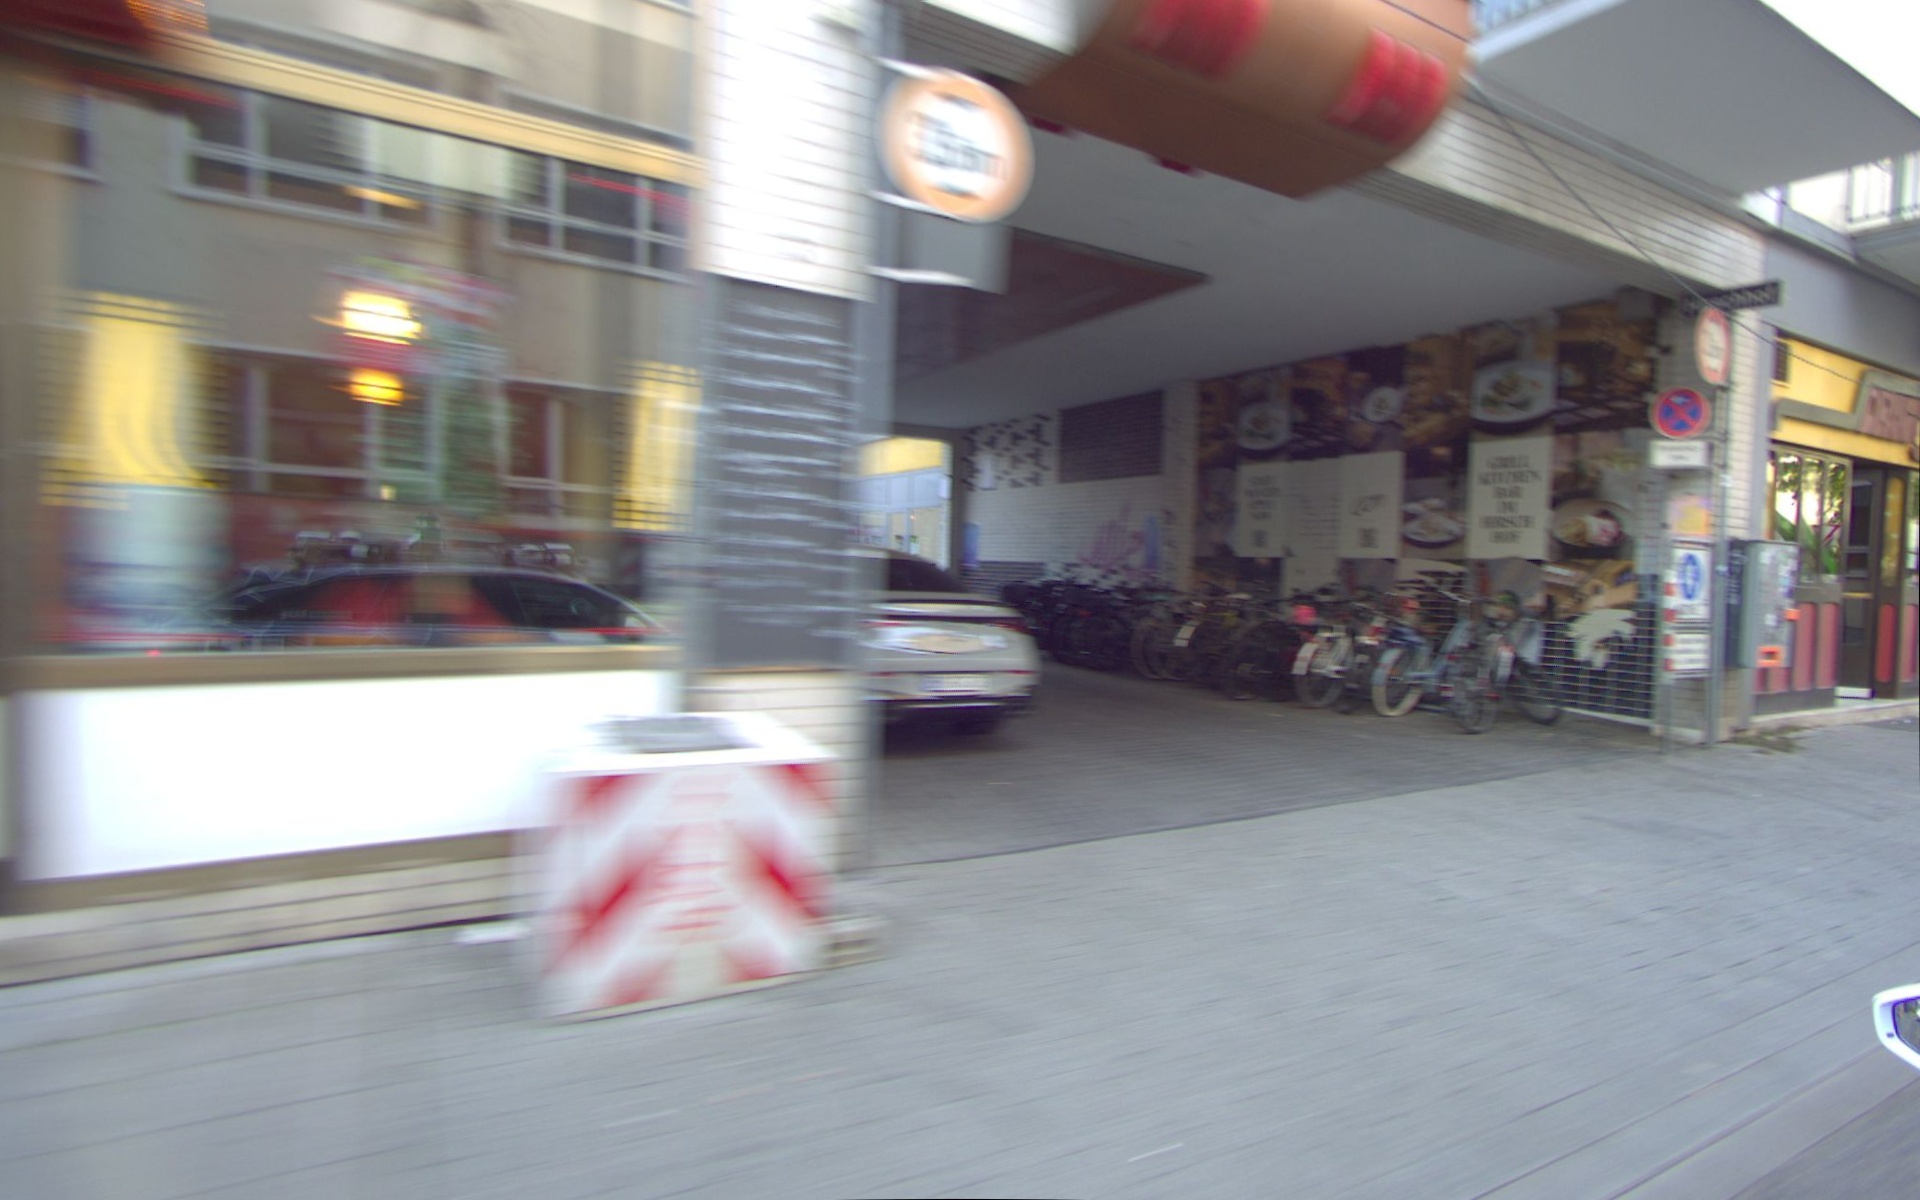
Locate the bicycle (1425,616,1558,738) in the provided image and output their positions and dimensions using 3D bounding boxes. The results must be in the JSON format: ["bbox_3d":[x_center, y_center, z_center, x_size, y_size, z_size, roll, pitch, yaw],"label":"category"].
[{"bbox_3d":[4.755,0.653,8.961,1.486,0.974,0.375,-1,3,-34],"label":"bicycle"}]

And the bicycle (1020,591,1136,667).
[{"bbox_3d":[1.661,0.384,14.002,1.777,0.974,0.375,-1,3,-34],"label":"bicycle"}]

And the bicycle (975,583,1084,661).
[{"bbox_3d":[1.037,0.295,14.600,1.782,1.052,0.447,-2,3,-41],"label":"bicycle"}]

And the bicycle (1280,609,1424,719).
[{"bbox_3d":[3.930,0.601,10.020,1.777,0.974,0.375,-1,3,-34],"label":"bicycle"}]

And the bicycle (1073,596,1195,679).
[{"bbox_3d":[2.268,0.458,12.974,1.777,0.974,0.375,-1,3,-34],"label":"bicycle"}]

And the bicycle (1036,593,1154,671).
[{"bbox_3d":[1.855,0.413,13.639,1.777,0.974,0.375,-1,3,-34],"label":"bicycle"}]

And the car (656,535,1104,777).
[{"bbox_3d":[-0.960,0.260,8.345,1.997,1.441,4.292,0,2,-31],"label":"car"}]

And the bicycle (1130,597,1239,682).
[{"bbox_3d":[2.771,0.462,12.338,1.486,0.974,0.375,-1,3,-34],"label":"bicycle"}]

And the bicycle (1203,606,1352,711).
[{"bbox_3d":[3.295,0.569,10.348,1.776,0.974,0.375,-1,3,-31],"label":"bicycle"}]

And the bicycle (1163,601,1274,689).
[{"bbox_3d":[3.103,0.512,12.007,1.486,0.974,0.375,-1,3,-34],"label":"bicycle"}]

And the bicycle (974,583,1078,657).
[{"bbox_3d":[1.033,0.284,15.409,1.782,1.052,0.447,-2,3,-41],"label":"bicycle"}]

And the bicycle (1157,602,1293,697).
[{"bbox_3d":[3.004,0.530,11.316,1.776,0.974,0.375,-1,3,-33],"label":"bicycle"}]

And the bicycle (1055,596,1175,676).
[{"bbox_3d":[2.072,0.451,13.310,1.777,0.974,0.375,-1,3,-34],"label":"bicycle"}]

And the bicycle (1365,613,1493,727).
[{"bbox_3d":[4.490,0.641,9.590,1.486,0.974,0.375,-1,3,-34],"label":"bicycle"}]
